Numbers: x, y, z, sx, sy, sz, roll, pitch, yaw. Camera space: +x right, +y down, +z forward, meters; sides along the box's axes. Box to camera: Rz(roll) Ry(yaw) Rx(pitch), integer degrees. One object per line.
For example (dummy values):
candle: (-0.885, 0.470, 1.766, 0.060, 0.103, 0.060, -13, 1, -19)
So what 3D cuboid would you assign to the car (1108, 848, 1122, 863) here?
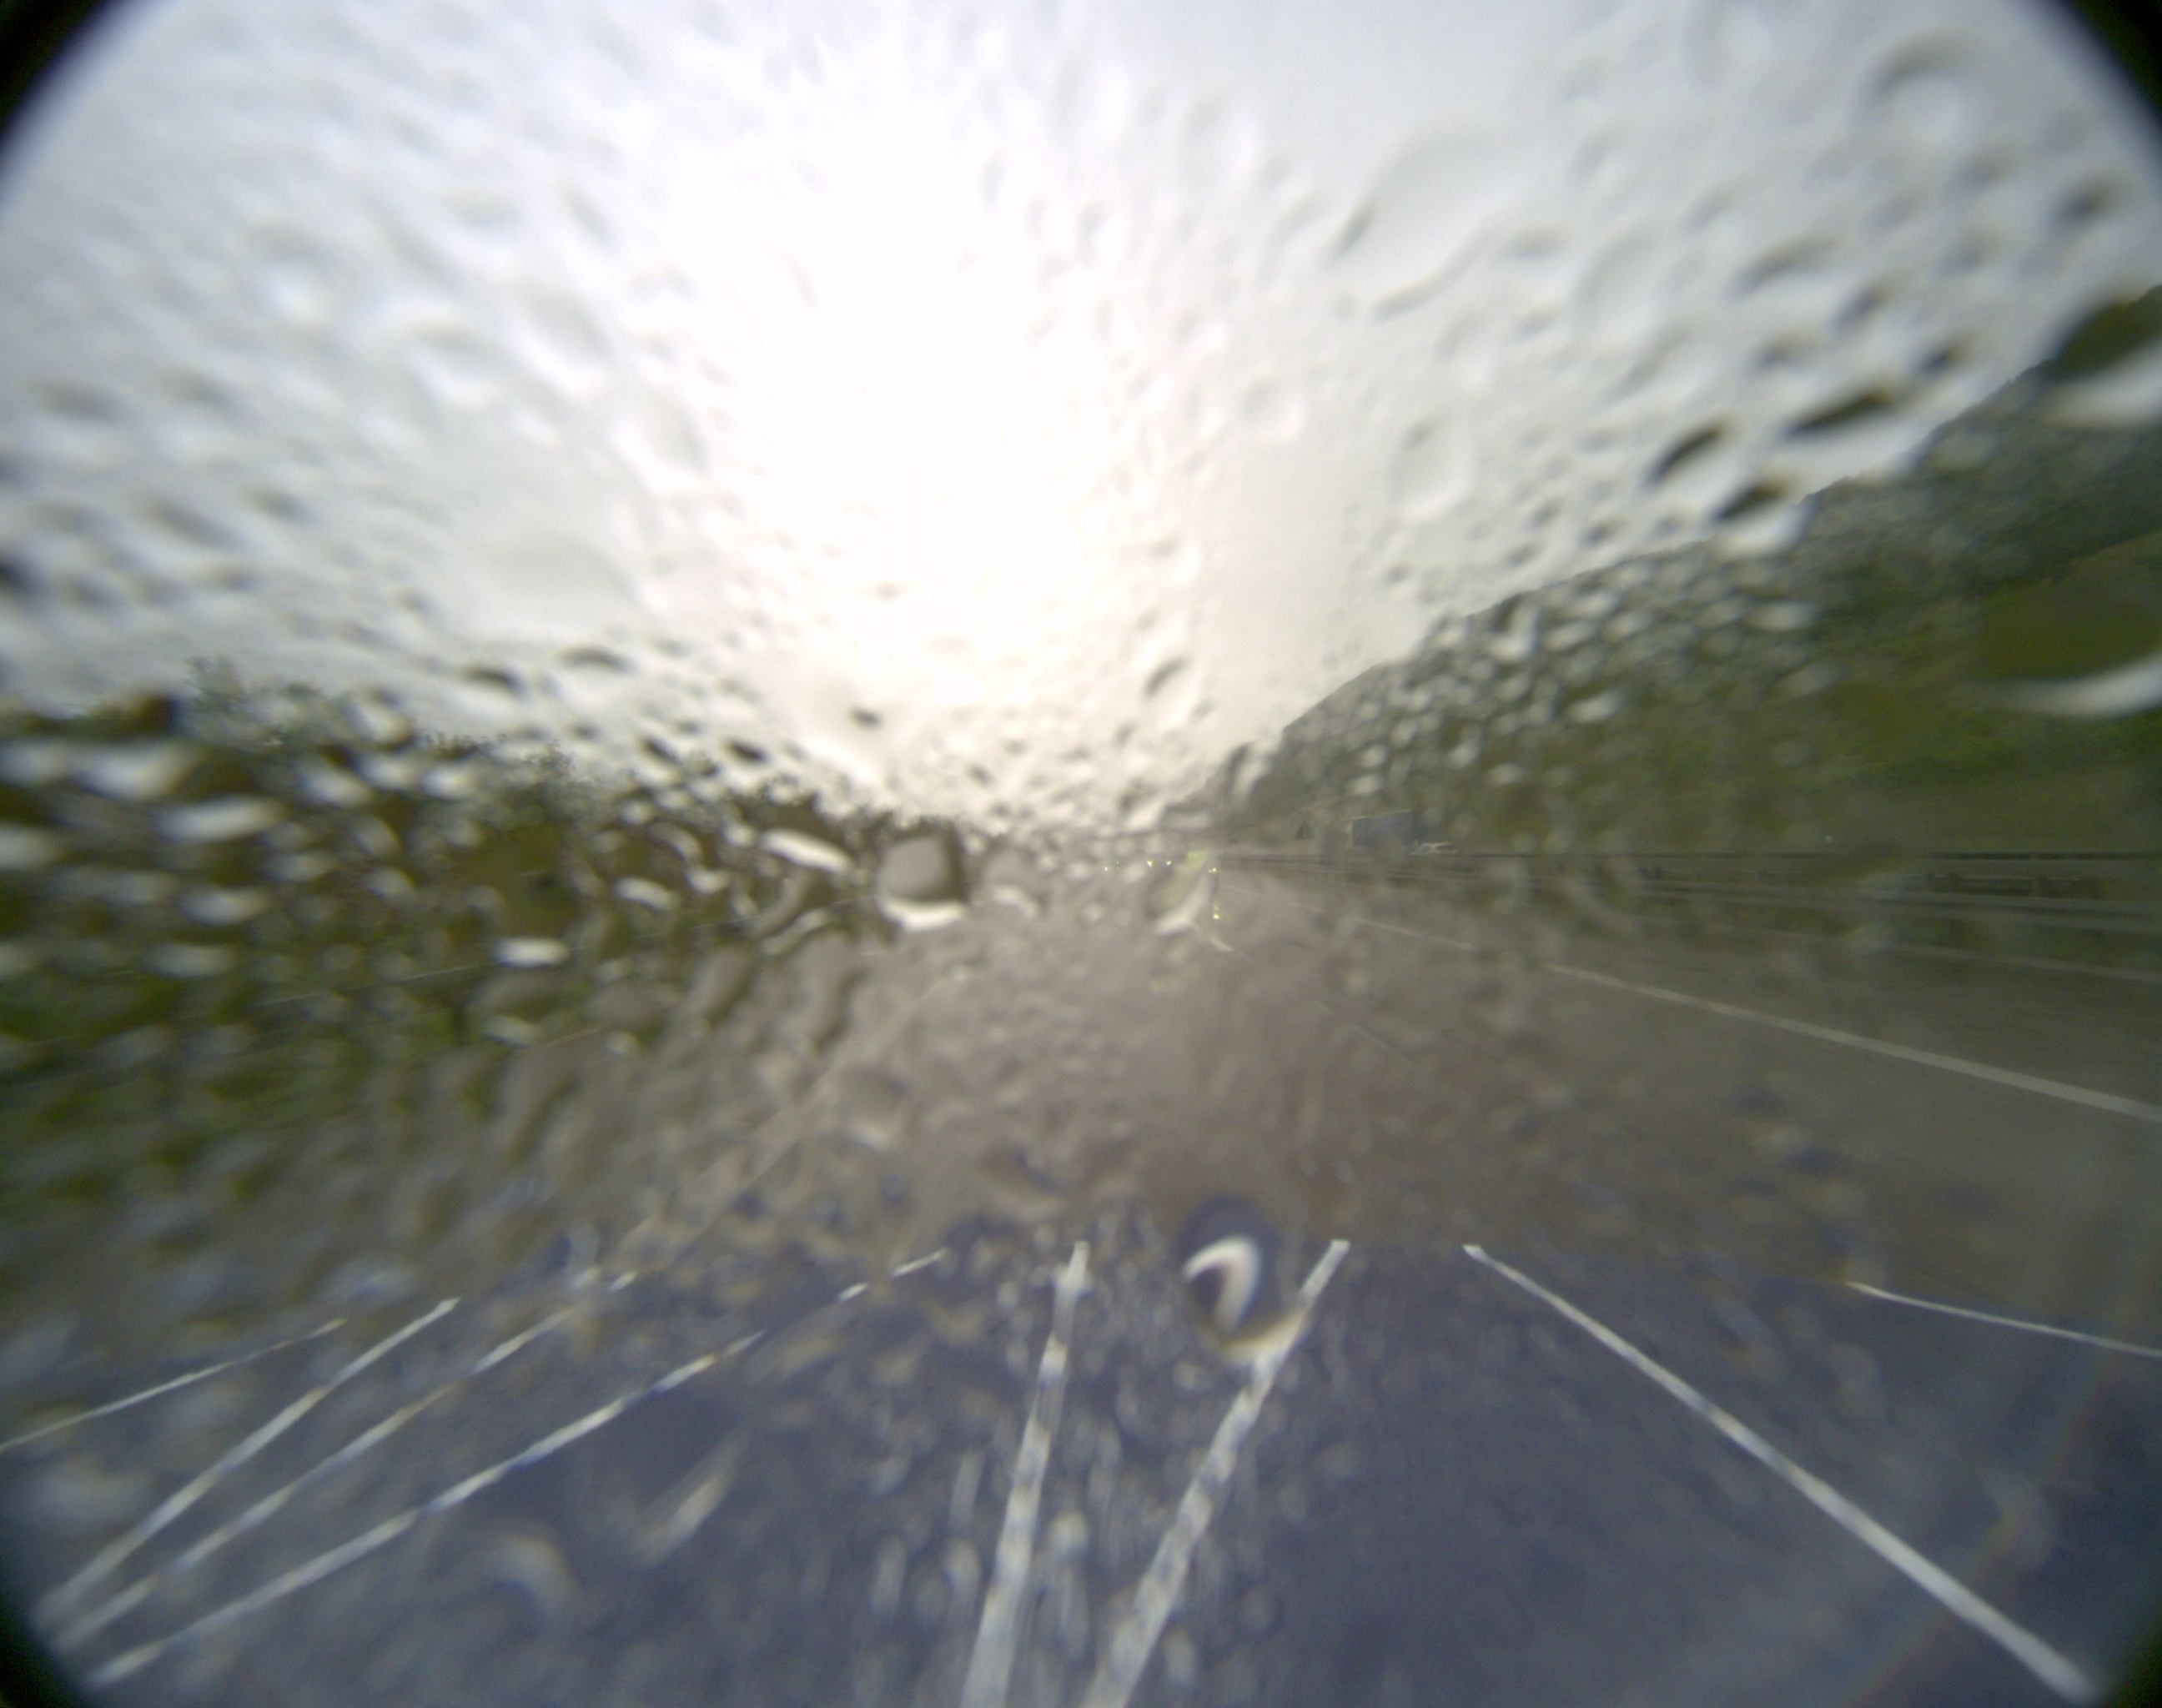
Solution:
car: (4.882, 0.214, 108.676, 1.836, 2.002, 3.938, -3, 1, 1)

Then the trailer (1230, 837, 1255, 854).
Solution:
trailer: (32.030, -1.650, 151.110, 2.819, 3.035, 14.903, -2, 0, 4)

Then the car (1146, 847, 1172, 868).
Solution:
car: (6.563, 0.266, 64.017, 1.814, 1.692, 3.749, -2, 1, 1)

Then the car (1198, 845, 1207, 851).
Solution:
car: (39.550, -1.960, 246.994, 2.392, 2.002, 4.705, -3, 1, 3)

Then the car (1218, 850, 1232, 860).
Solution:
car: (28.316, 0.161, 149.412, 1.998, 2.002, 4.000, -2, 0, 3)

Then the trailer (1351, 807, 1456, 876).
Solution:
trailer: (25.331, -0.913, 60.836, 2.743, 4.758, 14.044, -2, 0, 2)

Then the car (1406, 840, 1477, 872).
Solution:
car: (20.812, 0.098, 44.101, 1.998, 1.735, 4.659, -2, 0, 1)

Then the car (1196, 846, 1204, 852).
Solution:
car: (40.046, -1.732, 256.032, 2.392, 2.002, 4.705, -3, 1, 3)

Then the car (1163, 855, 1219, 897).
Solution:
car: (4.812, 0.900, 33.854, 1.998, 1.673, 4.909, 0, 1, 3)

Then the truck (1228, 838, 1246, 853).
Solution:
truck: (32.482, -1.728, 158.412, 2.814, 2.981, 5.518, -2, 0, 3)

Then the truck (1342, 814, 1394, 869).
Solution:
truck: (25.543, -1.049, 67.764, 2.696, 4.645, 5.156, -2, 0, 2)
